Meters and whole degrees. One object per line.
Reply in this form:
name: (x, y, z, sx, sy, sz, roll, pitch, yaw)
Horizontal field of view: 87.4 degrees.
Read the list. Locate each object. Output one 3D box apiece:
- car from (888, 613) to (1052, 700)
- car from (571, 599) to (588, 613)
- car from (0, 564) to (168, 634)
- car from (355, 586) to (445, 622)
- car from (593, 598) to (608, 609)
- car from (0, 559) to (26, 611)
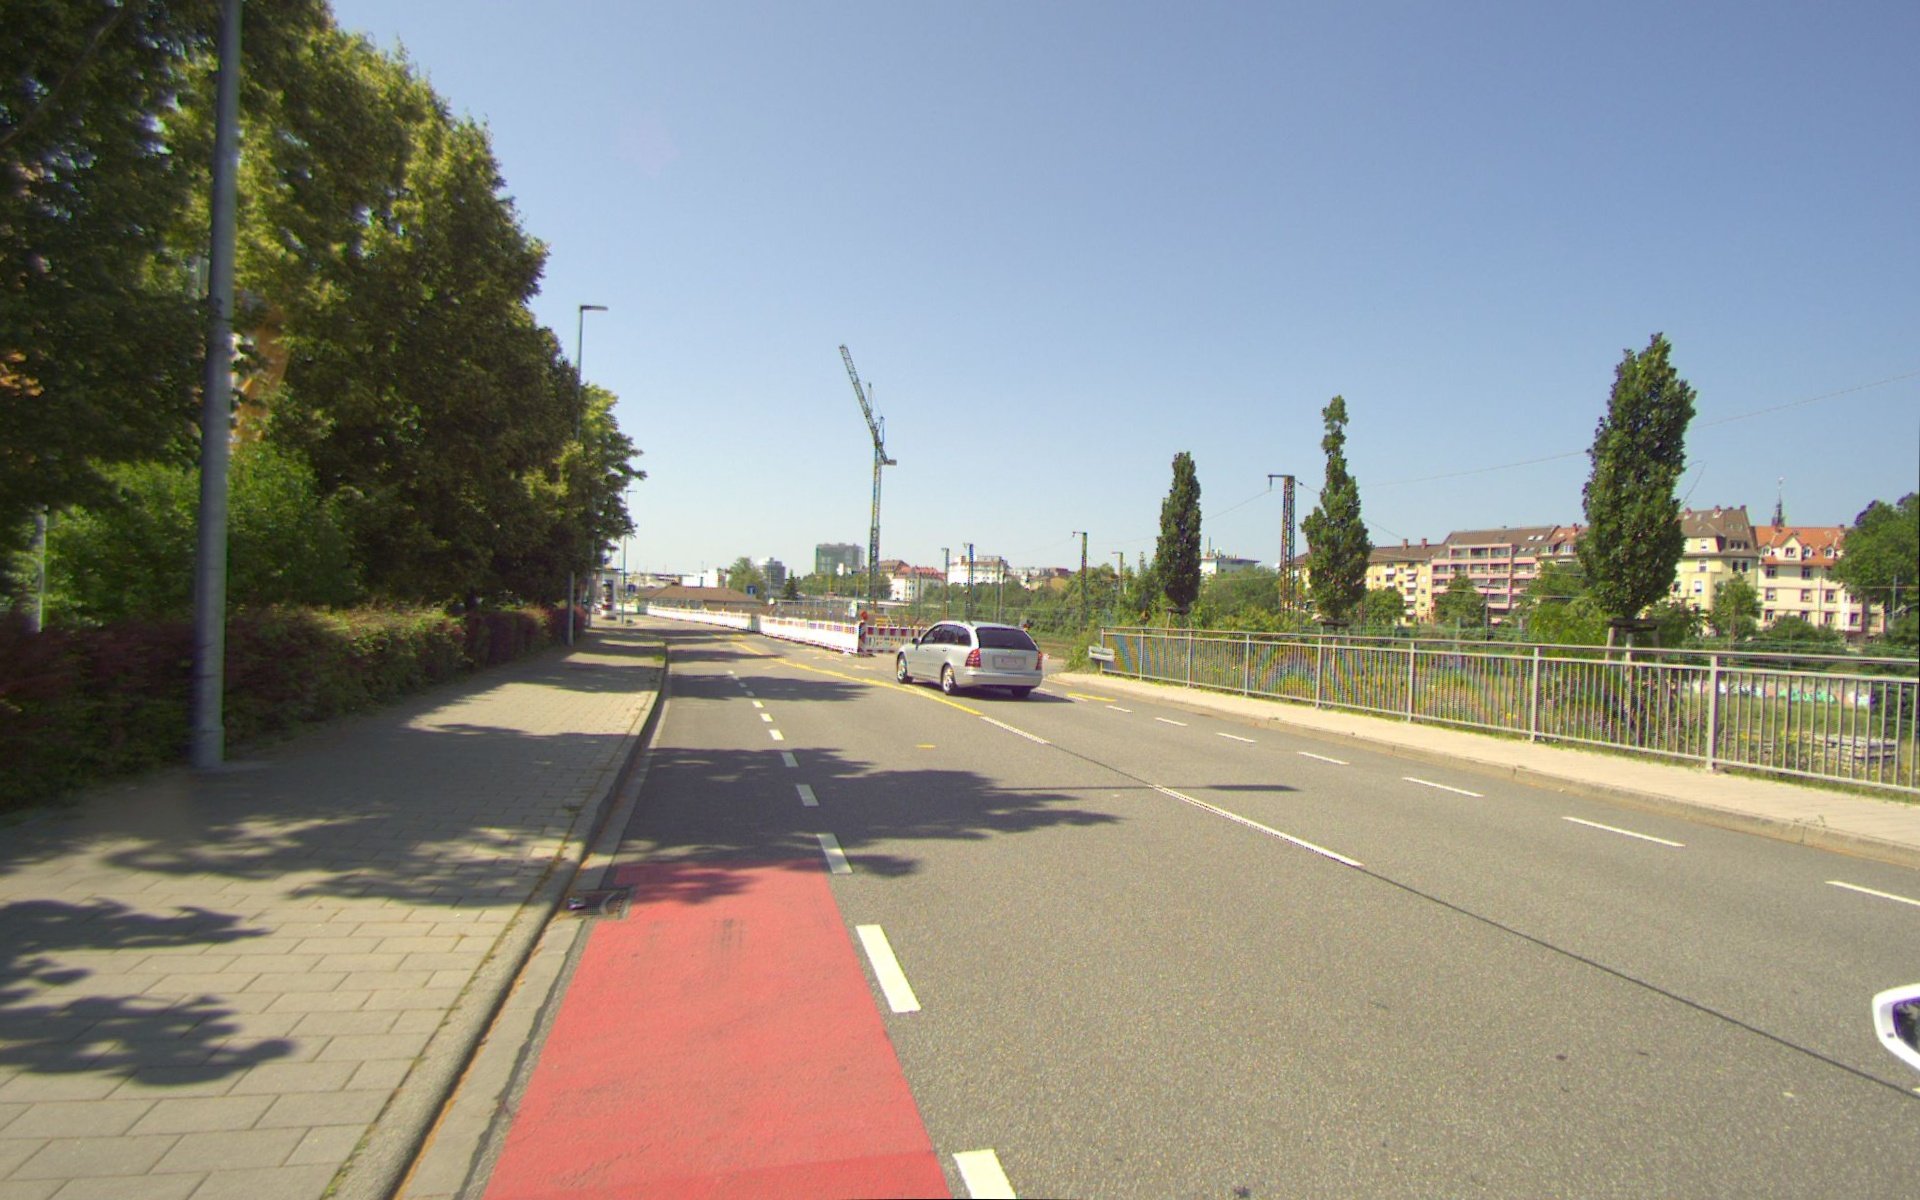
car: (0.060, 1.060, 20.065, 1.689, 1.422, 4.364, 4, -1, -21)
car: (-47.073, 0.744, 124.324, 1.847, 1.518, 4.011, 1, 1, -21)
car: (-22.762, -0.008, 25.706, 2.040, 1.581, 5.015, 2, -1, -15)
car: (-32.363, 0.237, 58.058, 4.434, 1.946, 1.893, -1, 1, 15)
car: (-50.057, 0.499, 139.727, 1.659, 1.513, 4.580, 2, -1, -23)
car: (-34.909, -0.629, 34.313, 3.976, 1.755, 1.788, 4, -1, -29)
